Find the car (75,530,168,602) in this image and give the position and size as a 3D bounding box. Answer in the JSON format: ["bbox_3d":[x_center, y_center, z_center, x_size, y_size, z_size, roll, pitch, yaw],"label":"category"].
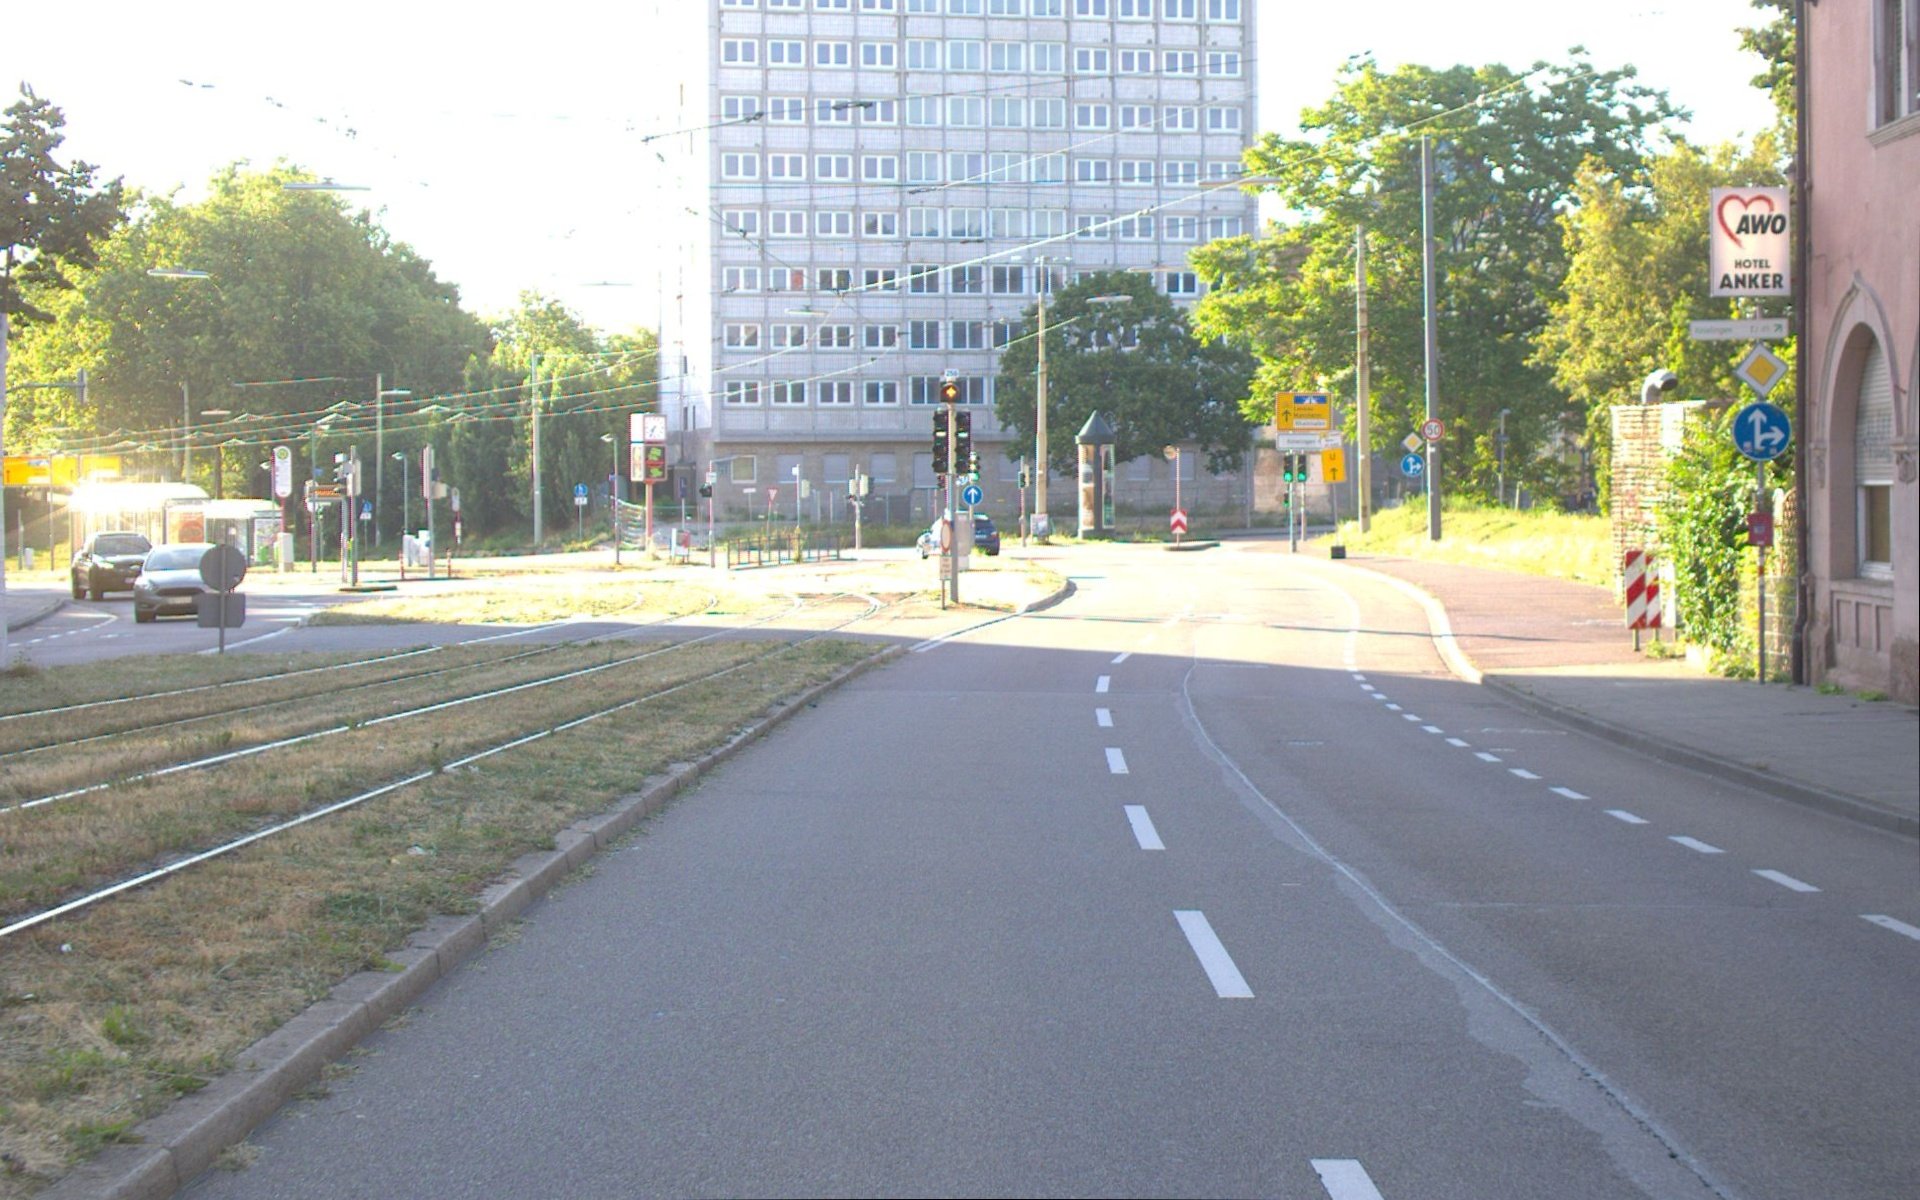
[{"bbox_3d":[-21.153,-0.884,86.602,1.917,1.656,4.710,-2,2,-18],"label":"car"}]

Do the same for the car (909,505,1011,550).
[{"bbox_3d":[-0.015,-2.384,113.356,1.772,1.417,3.857,-2,2,-27],"label":"car"}]

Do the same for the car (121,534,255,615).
[{"bbox_3d":[-14.905,-0.506,66.573,1.697,1.455,4.316,-2,1,-2],"label":"car"}]

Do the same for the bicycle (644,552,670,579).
[{"bbox_3d":[-11.023,-1.256,125.155,0.553,0.914,1.743,-2,2,7],"label":"bicycle"}]
